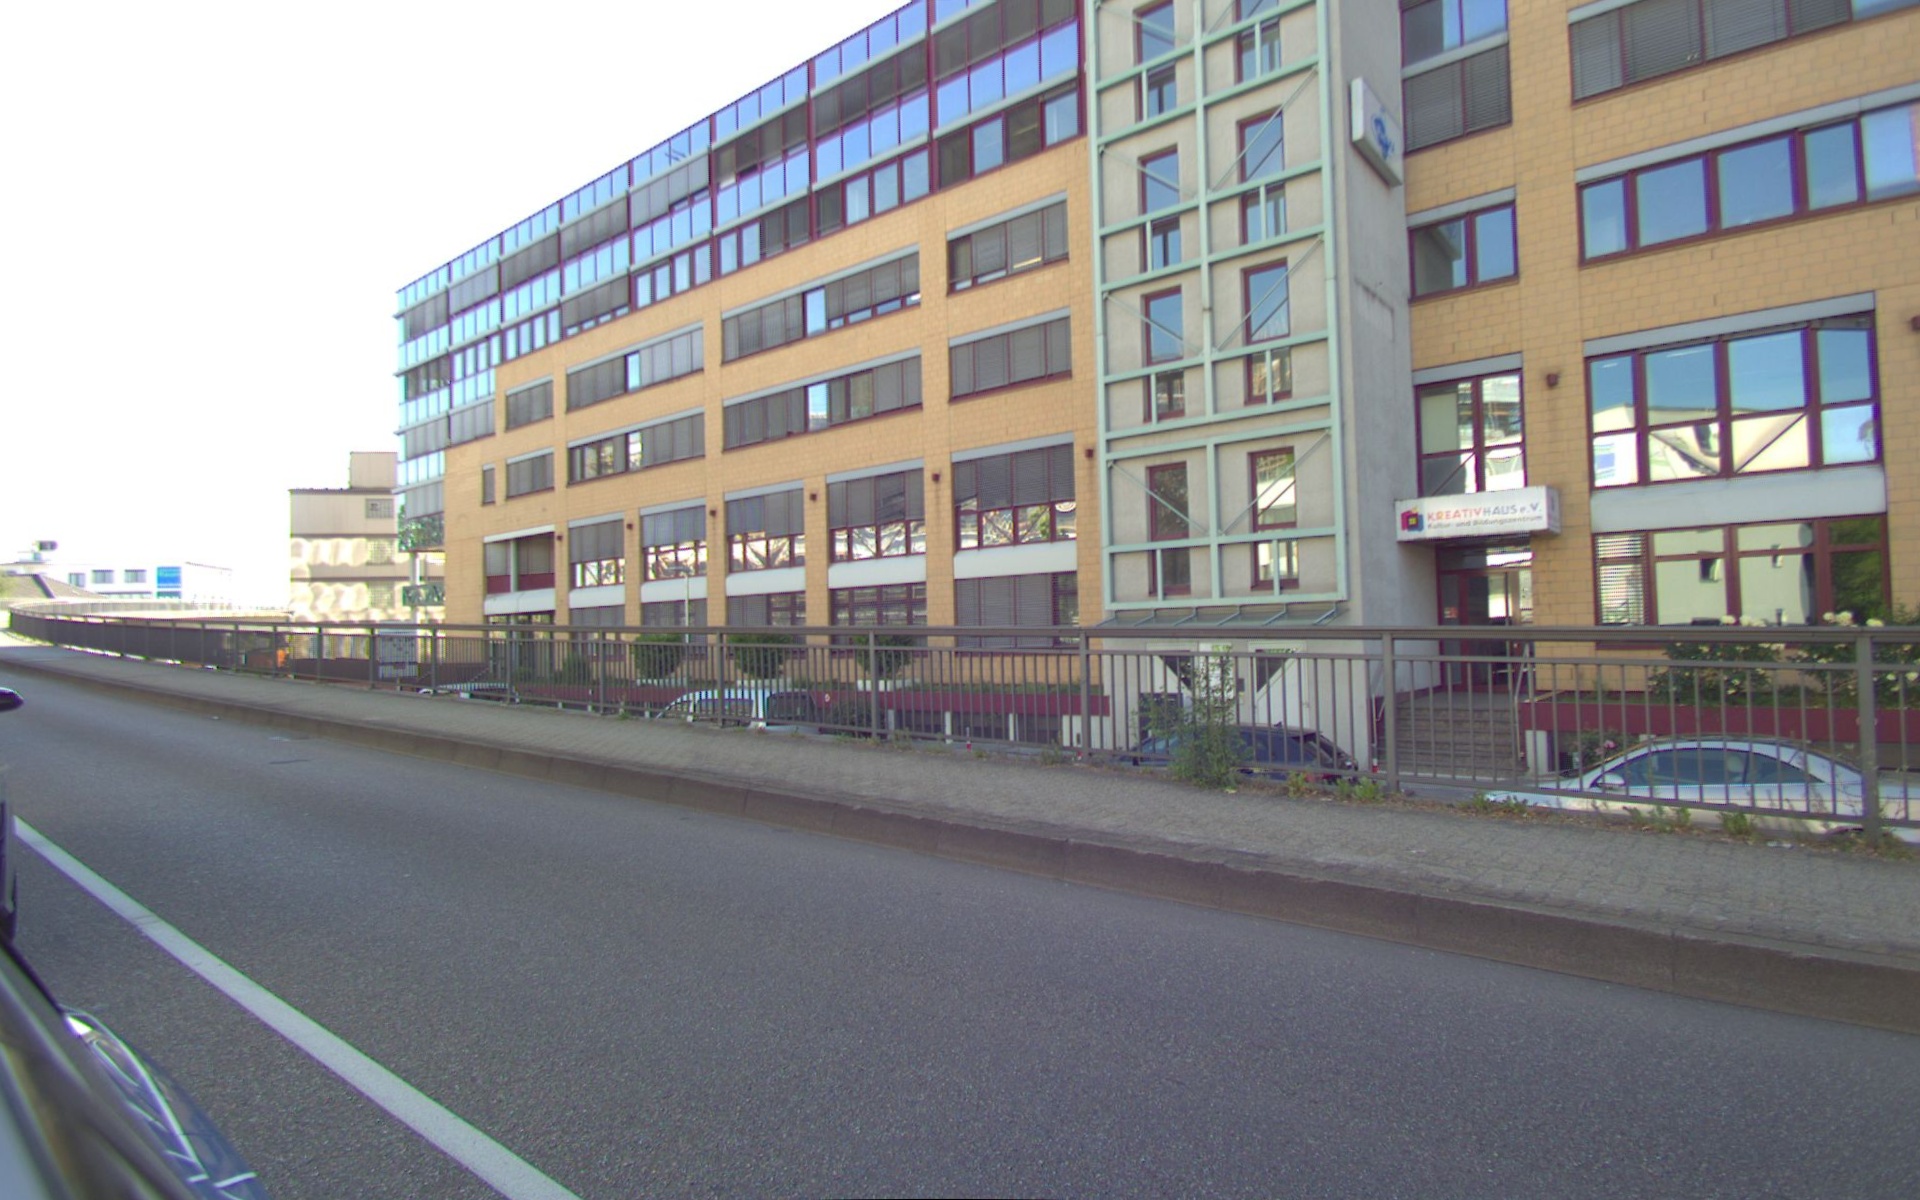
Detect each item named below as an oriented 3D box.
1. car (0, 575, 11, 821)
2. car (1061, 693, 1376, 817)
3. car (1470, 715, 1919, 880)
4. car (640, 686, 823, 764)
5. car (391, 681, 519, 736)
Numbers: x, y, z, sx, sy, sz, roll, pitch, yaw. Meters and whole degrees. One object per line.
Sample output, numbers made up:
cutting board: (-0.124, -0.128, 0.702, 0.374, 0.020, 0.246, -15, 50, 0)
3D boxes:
car: (-5.844, 0.774, 4.659, 3.998, 1.660, 1.726, -3, -4, 41)
car: (3.376, 1.970, 13.595, 3.805, 1.279, 1.560, -3, -4, 40)
car: (7.685, 1.879, 10.207, 4.254, 1.175, 1.704, -3, -4, 40)
car: (-4.595, 2.418, 20.127, 3.805, 1.279, 1.560, -3, -4, 40)
car: (-13.821, 2.919, 27.626, 3.805, 1.279, 1.744, -3, -4, 39)
